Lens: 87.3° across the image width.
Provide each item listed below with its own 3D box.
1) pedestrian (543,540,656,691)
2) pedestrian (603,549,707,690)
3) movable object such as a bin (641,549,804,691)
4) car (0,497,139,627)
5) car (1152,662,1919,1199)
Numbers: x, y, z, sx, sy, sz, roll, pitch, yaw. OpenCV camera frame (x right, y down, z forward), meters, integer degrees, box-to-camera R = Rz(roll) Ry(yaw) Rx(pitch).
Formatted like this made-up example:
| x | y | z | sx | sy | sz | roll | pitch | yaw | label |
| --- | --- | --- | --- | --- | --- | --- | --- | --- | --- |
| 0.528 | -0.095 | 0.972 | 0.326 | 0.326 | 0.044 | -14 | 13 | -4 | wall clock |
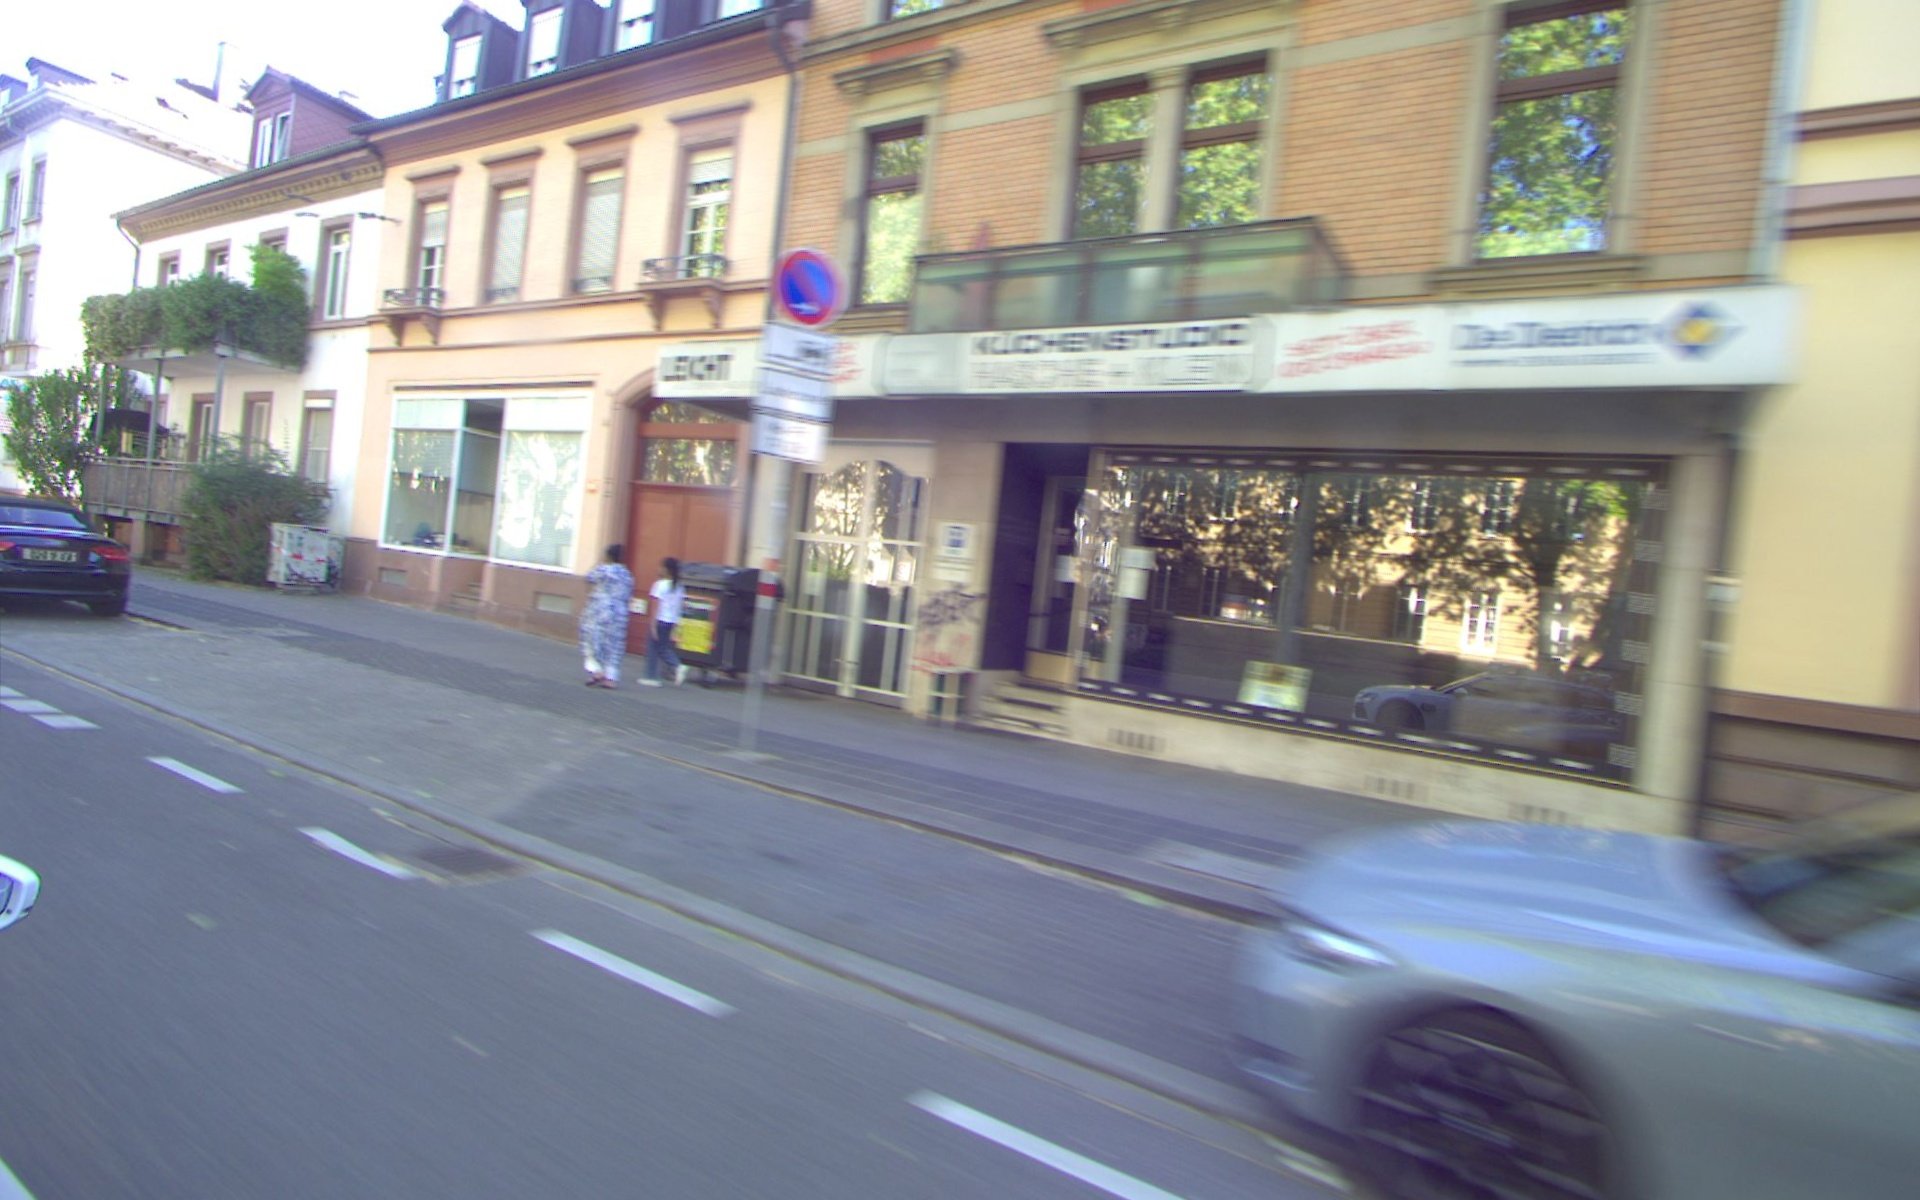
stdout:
| x | y | z | sx | sy | sz | roll | pitch | yaw | label |
| --- | --- | --- | --- | --- | --- | --- | --- | --- | --- |
| -3.914 | 0.162 | 10.929 | 0.852 | 1.524 | 0.660 | 7 | 2 | 32 | pedestrian |
| -3.477 | 0.223 | 11.493 | 0.772 | 1.501 | 0.658 | 7 | 1 | 32 | pedestrian |
| -2.894 | 0.255 | 12.325 | 1.265 | 1.539 | 1.294 | 7 | 0 | 33 | movable object such as a bin |
| -12.433 | -0.611 | 12.922 | 4.423 | 1.411 | 1.693 | 6 | 2 | 34 | car |
| 3.086 | 1.187 | 2.758 | 4.588 | 1.453 | 1.810 | 6 | 2 | 32 | car |
